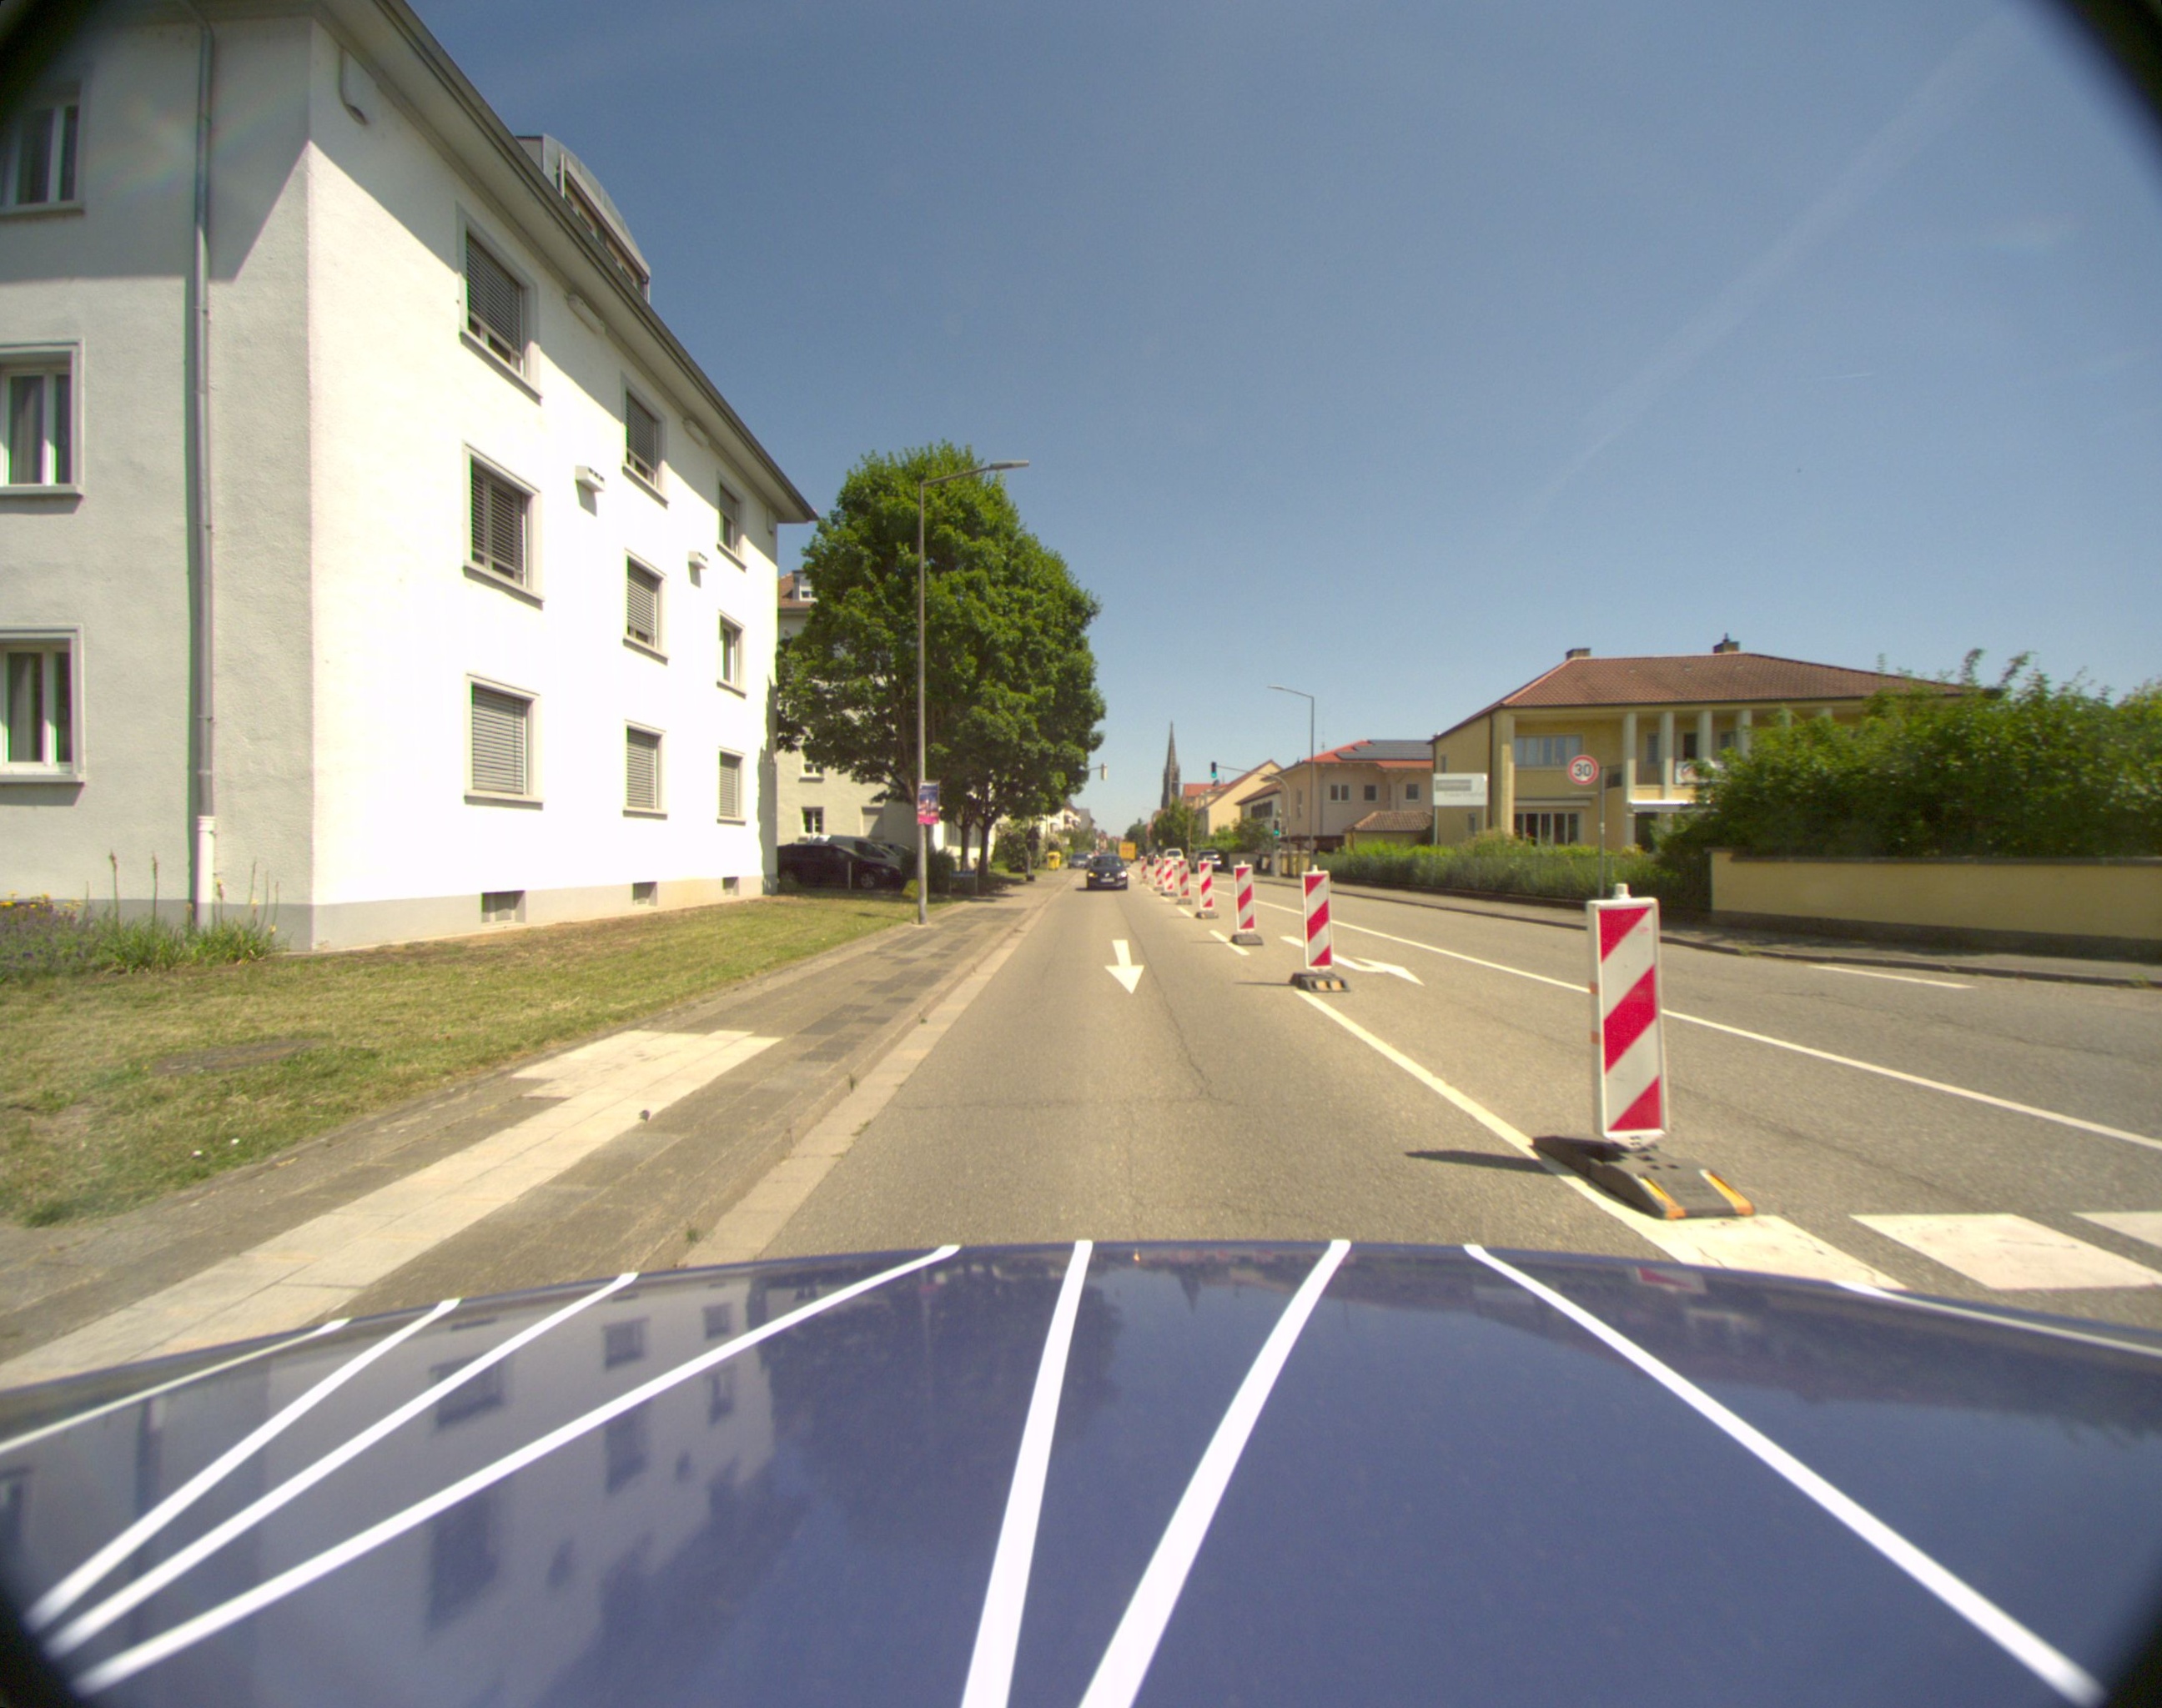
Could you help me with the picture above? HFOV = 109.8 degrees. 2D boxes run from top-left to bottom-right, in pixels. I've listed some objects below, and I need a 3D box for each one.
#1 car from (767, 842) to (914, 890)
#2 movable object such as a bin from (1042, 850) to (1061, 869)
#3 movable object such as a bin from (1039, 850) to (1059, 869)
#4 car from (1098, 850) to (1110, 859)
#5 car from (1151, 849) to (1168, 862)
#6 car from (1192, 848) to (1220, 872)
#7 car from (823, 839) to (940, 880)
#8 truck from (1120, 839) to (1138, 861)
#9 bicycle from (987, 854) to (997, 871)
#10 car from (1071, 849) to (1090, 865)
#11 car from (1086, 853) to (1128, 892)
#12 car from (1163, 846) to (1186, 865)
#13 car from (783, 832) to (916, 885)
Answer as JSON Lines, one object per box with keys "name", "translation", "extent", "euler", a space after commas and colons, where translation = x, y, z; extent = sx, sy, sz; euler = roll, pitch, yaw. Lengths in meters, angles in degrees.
{"name": "car", "translation": [-8.115, 0.397, 25.943], "extent": [4.366, 1.427, 1.999], "euler": [2, 1, -1]}
{"name": "movable object such as a bin", "translation": [-2.349, 0.401, 60.715], "extent": [1.499, 1.472, 1.423], "euler": [1, 1, 0]}
{"name": "movable object such as a bin", "translation": [-2.469, 0.405, 59.151], "extent": [1.499, 1.472, 1.423], "euler": [1, 1, 0]}
{"name": "car", "translation": [3.817, 0.025, 127.273], "extent": [1.711, 1.449, 3.563], "euler": [1, 1, -2]}
{"name": "car", "translation": [9.393, 0.157, 90.818], "extent": [1.624, 1.596, 3.513], "euler": [1, 1, 0]}
{"name": "car", "translation": [8.692, 0.401, 52.883], "extent": [1.389, 1.568, 3.321], "euler": [1, 1, 0]}
{"name": "car", "translation": [-8.344, 0.235, 32.085], "extent": [4.366, 1.517, 1.999], "euler": [2, 1, -1]}
{"name": "truck", "translation": [6.601, -0.566, 105.594], "extent": [2.222, 2.921, 5.350], "euler": [1, 1, 0]}
{"name": "bicycle", "translation": [-5.636, 0.508, 48.023], "extent": [0.407, 1.050, 1.522], "euler": [1, 1, 2]}
{"name": "car", "translation": [-0.050, 0.229, 68.613], "extent": [1.607, 1.403, 3.909], "euler": [-1, 1, 1]}
{"name": "car", "translation": [1.123, 0.722, 31.510], "extent": [1.607, 1.436, 3.910], "euler": [-1, 1, 3]}
{"name": "car", "translation": [8.915, 0.101, 72.851], "extent": [1.718, 1.776, 3.889], "euler": [1, 1, 0]}
{"name": "car", "translation": [-8.649, 0.158, 28.649], "extent": [4.366, 1.776, 1.999], "euler": [2, 1, -1]}
